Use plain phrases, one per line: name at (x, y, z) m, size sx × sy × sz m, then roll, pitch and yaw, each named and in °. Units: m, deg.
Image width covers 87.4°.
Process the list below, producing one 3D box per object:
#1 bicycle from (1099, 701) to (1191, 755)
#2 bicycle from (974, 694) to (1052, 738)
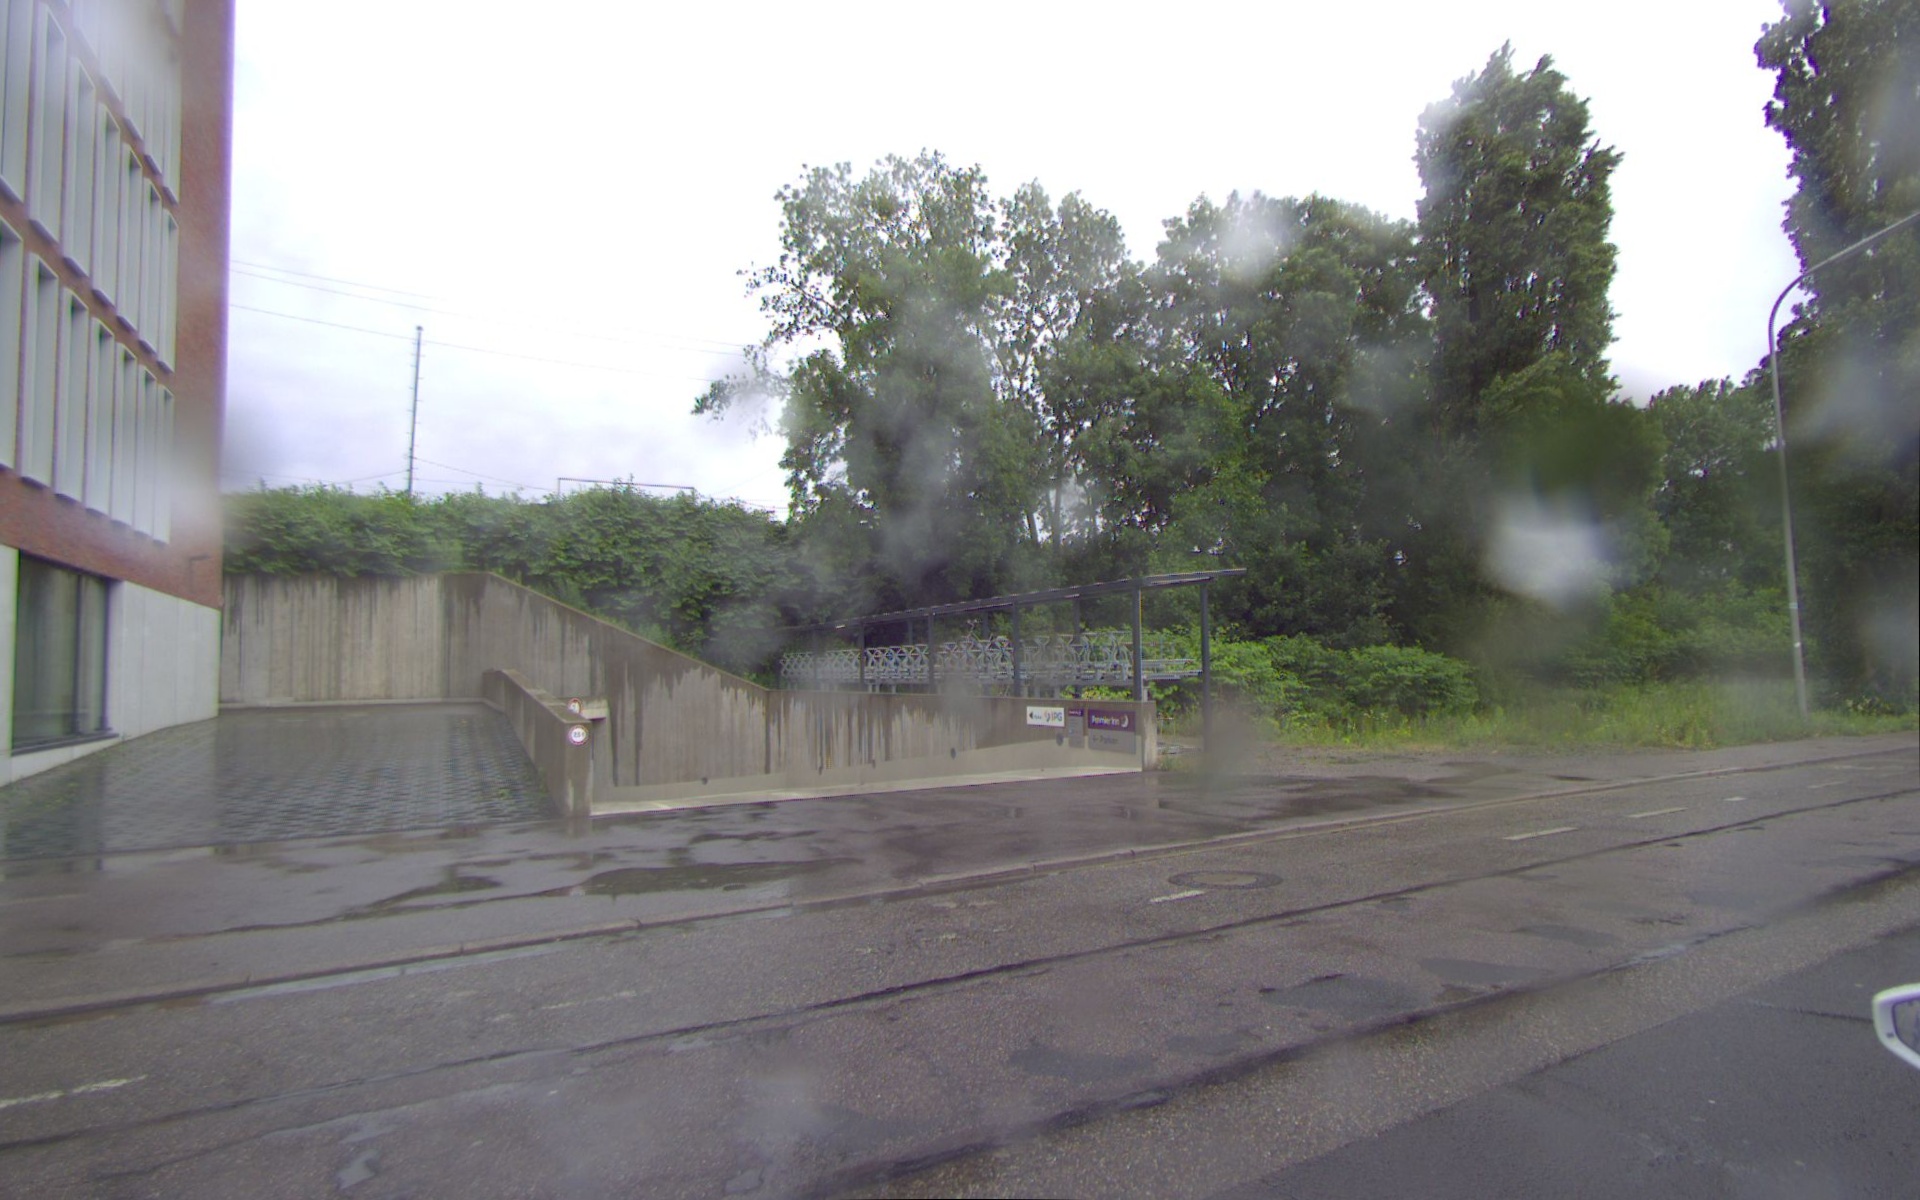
bicycle at (3.284, 2.252, 17.795) m, size 1.652 × 0.869 × 0.514 m, roll 1°, pitch -5°, yaw -30°
bicycle at (1.177, 2.524, 21.990) m, size 1.684 × 0.869 × 0.514 m, roll 1°, pitch -5°, yaw -30°
